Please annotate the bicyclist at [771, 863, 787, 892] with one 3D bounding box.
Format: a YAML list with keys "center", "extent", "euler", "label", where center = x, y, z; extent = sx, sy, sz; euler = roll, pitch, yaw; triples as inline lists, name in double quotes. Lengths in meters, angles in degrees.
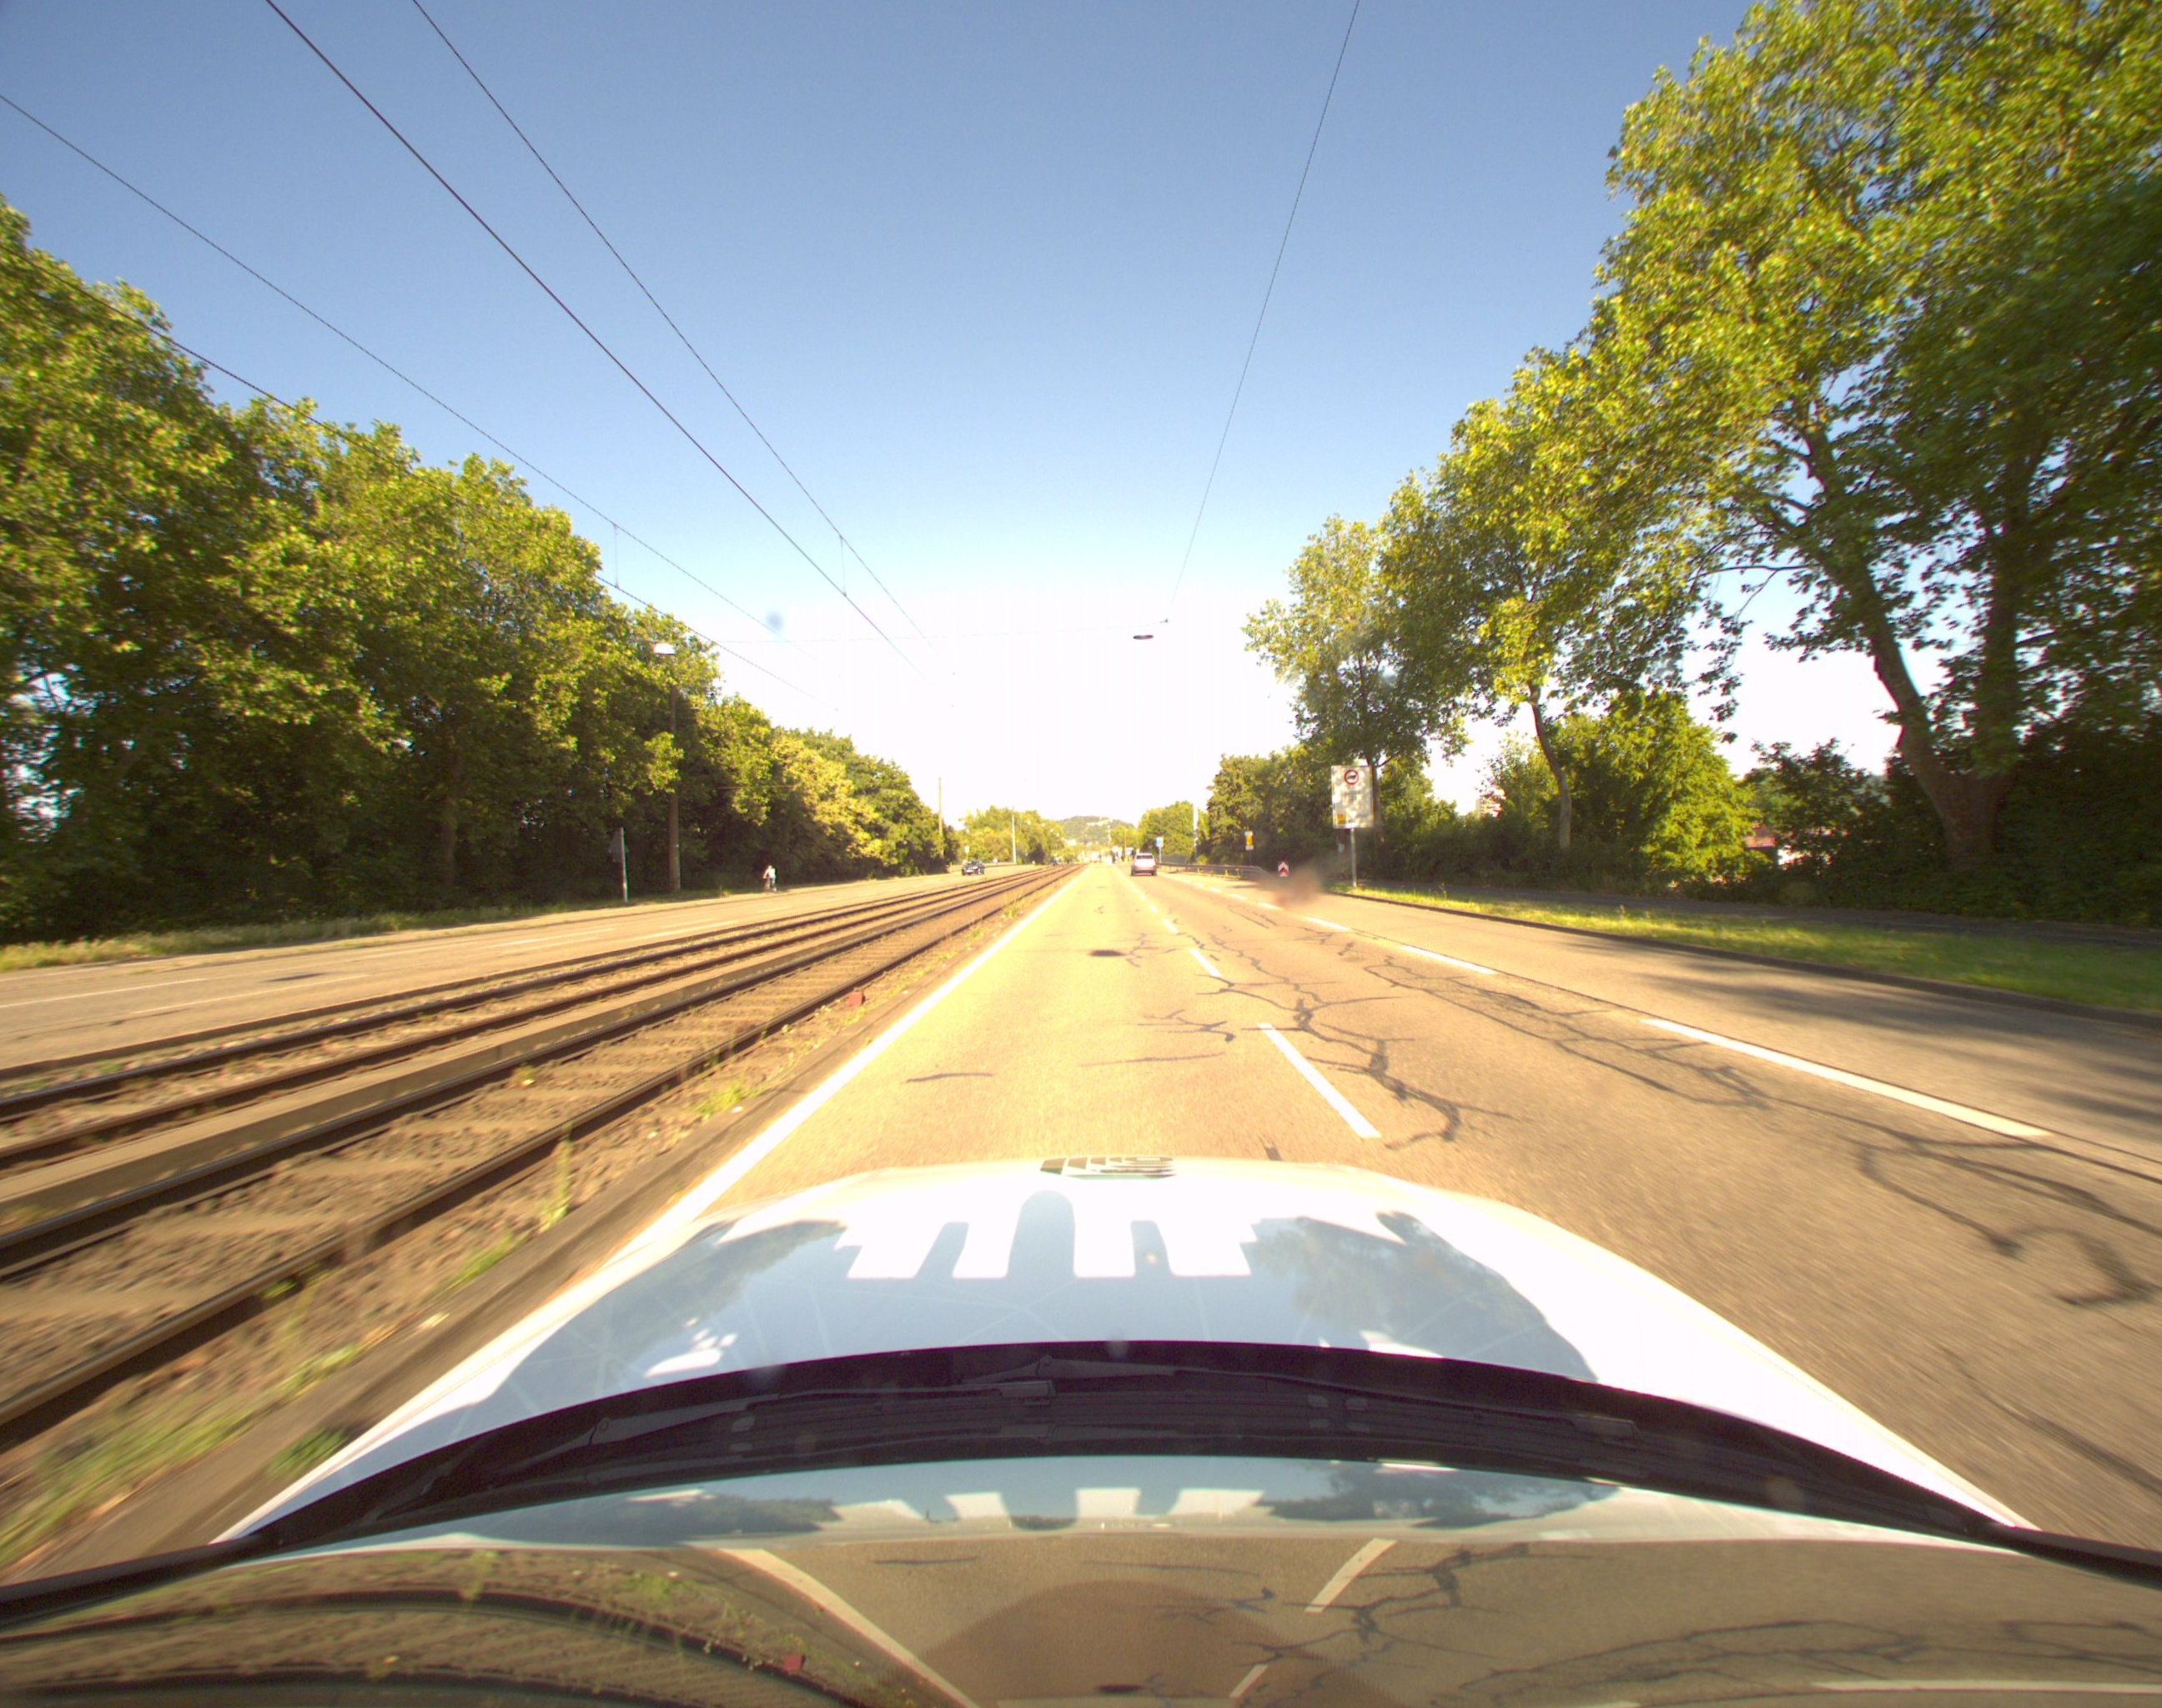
- center: [-17.913, 1.366, 48.347]
  extent: [0.548, 1.690, 0.821]
  euler: [0, -1, 5]
  label: "bicyclist"

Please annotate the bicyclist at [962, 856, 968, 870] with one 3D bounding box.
- center: [-13.805, 1.101, 96.745]
  extent: [0.505, 1.687, 0.920]
  euler: [0, -1, 4]
  label: "bicyclist"

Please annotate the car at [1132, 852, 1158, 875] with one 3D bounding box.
- center: [4.856, 0.710, 62.132]
  extent: [1.880, 1.693, 4.261]
  euler: [-1, 0, 4]
  label: "car"

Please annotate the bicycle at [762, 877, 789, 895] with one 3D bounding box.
- center: [-18.152, 1.890, 48.386]
  extent: [0.547, 0.986, 2.242]
  euler: [0, 0, 6]
  label: "bicycle"

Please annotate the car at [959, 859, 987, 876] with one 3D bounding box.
- center: [-11.742, 1.489, 89.150]
  extent: [1.984, 1.685, 4.802]
  euler: [-3, -1, 5]
  label: "car"

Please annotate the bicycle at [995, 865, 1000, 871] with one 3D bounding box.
- center: [-13.698, 2.250, 133.169]
  extent: [0.538, 1.043, 1.925]
  euler: [0, 0, 1]
  label: "bicycle"

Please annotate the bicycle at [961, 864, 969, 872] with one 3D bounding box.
- center: [-13.810, 1.675, 96.799]
  extent: [0.505, 0.892, 2.030]
  euler: [-2, 0, 5]
  label: "bicycle"

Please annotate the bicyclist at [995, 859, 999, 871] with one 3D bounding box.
- center: [-13.692, 1.809, 133.181]
  extent: [0.538, 1.862, 0.875]
  euler: [0, -1, 1]
  label: "bicyclist"
